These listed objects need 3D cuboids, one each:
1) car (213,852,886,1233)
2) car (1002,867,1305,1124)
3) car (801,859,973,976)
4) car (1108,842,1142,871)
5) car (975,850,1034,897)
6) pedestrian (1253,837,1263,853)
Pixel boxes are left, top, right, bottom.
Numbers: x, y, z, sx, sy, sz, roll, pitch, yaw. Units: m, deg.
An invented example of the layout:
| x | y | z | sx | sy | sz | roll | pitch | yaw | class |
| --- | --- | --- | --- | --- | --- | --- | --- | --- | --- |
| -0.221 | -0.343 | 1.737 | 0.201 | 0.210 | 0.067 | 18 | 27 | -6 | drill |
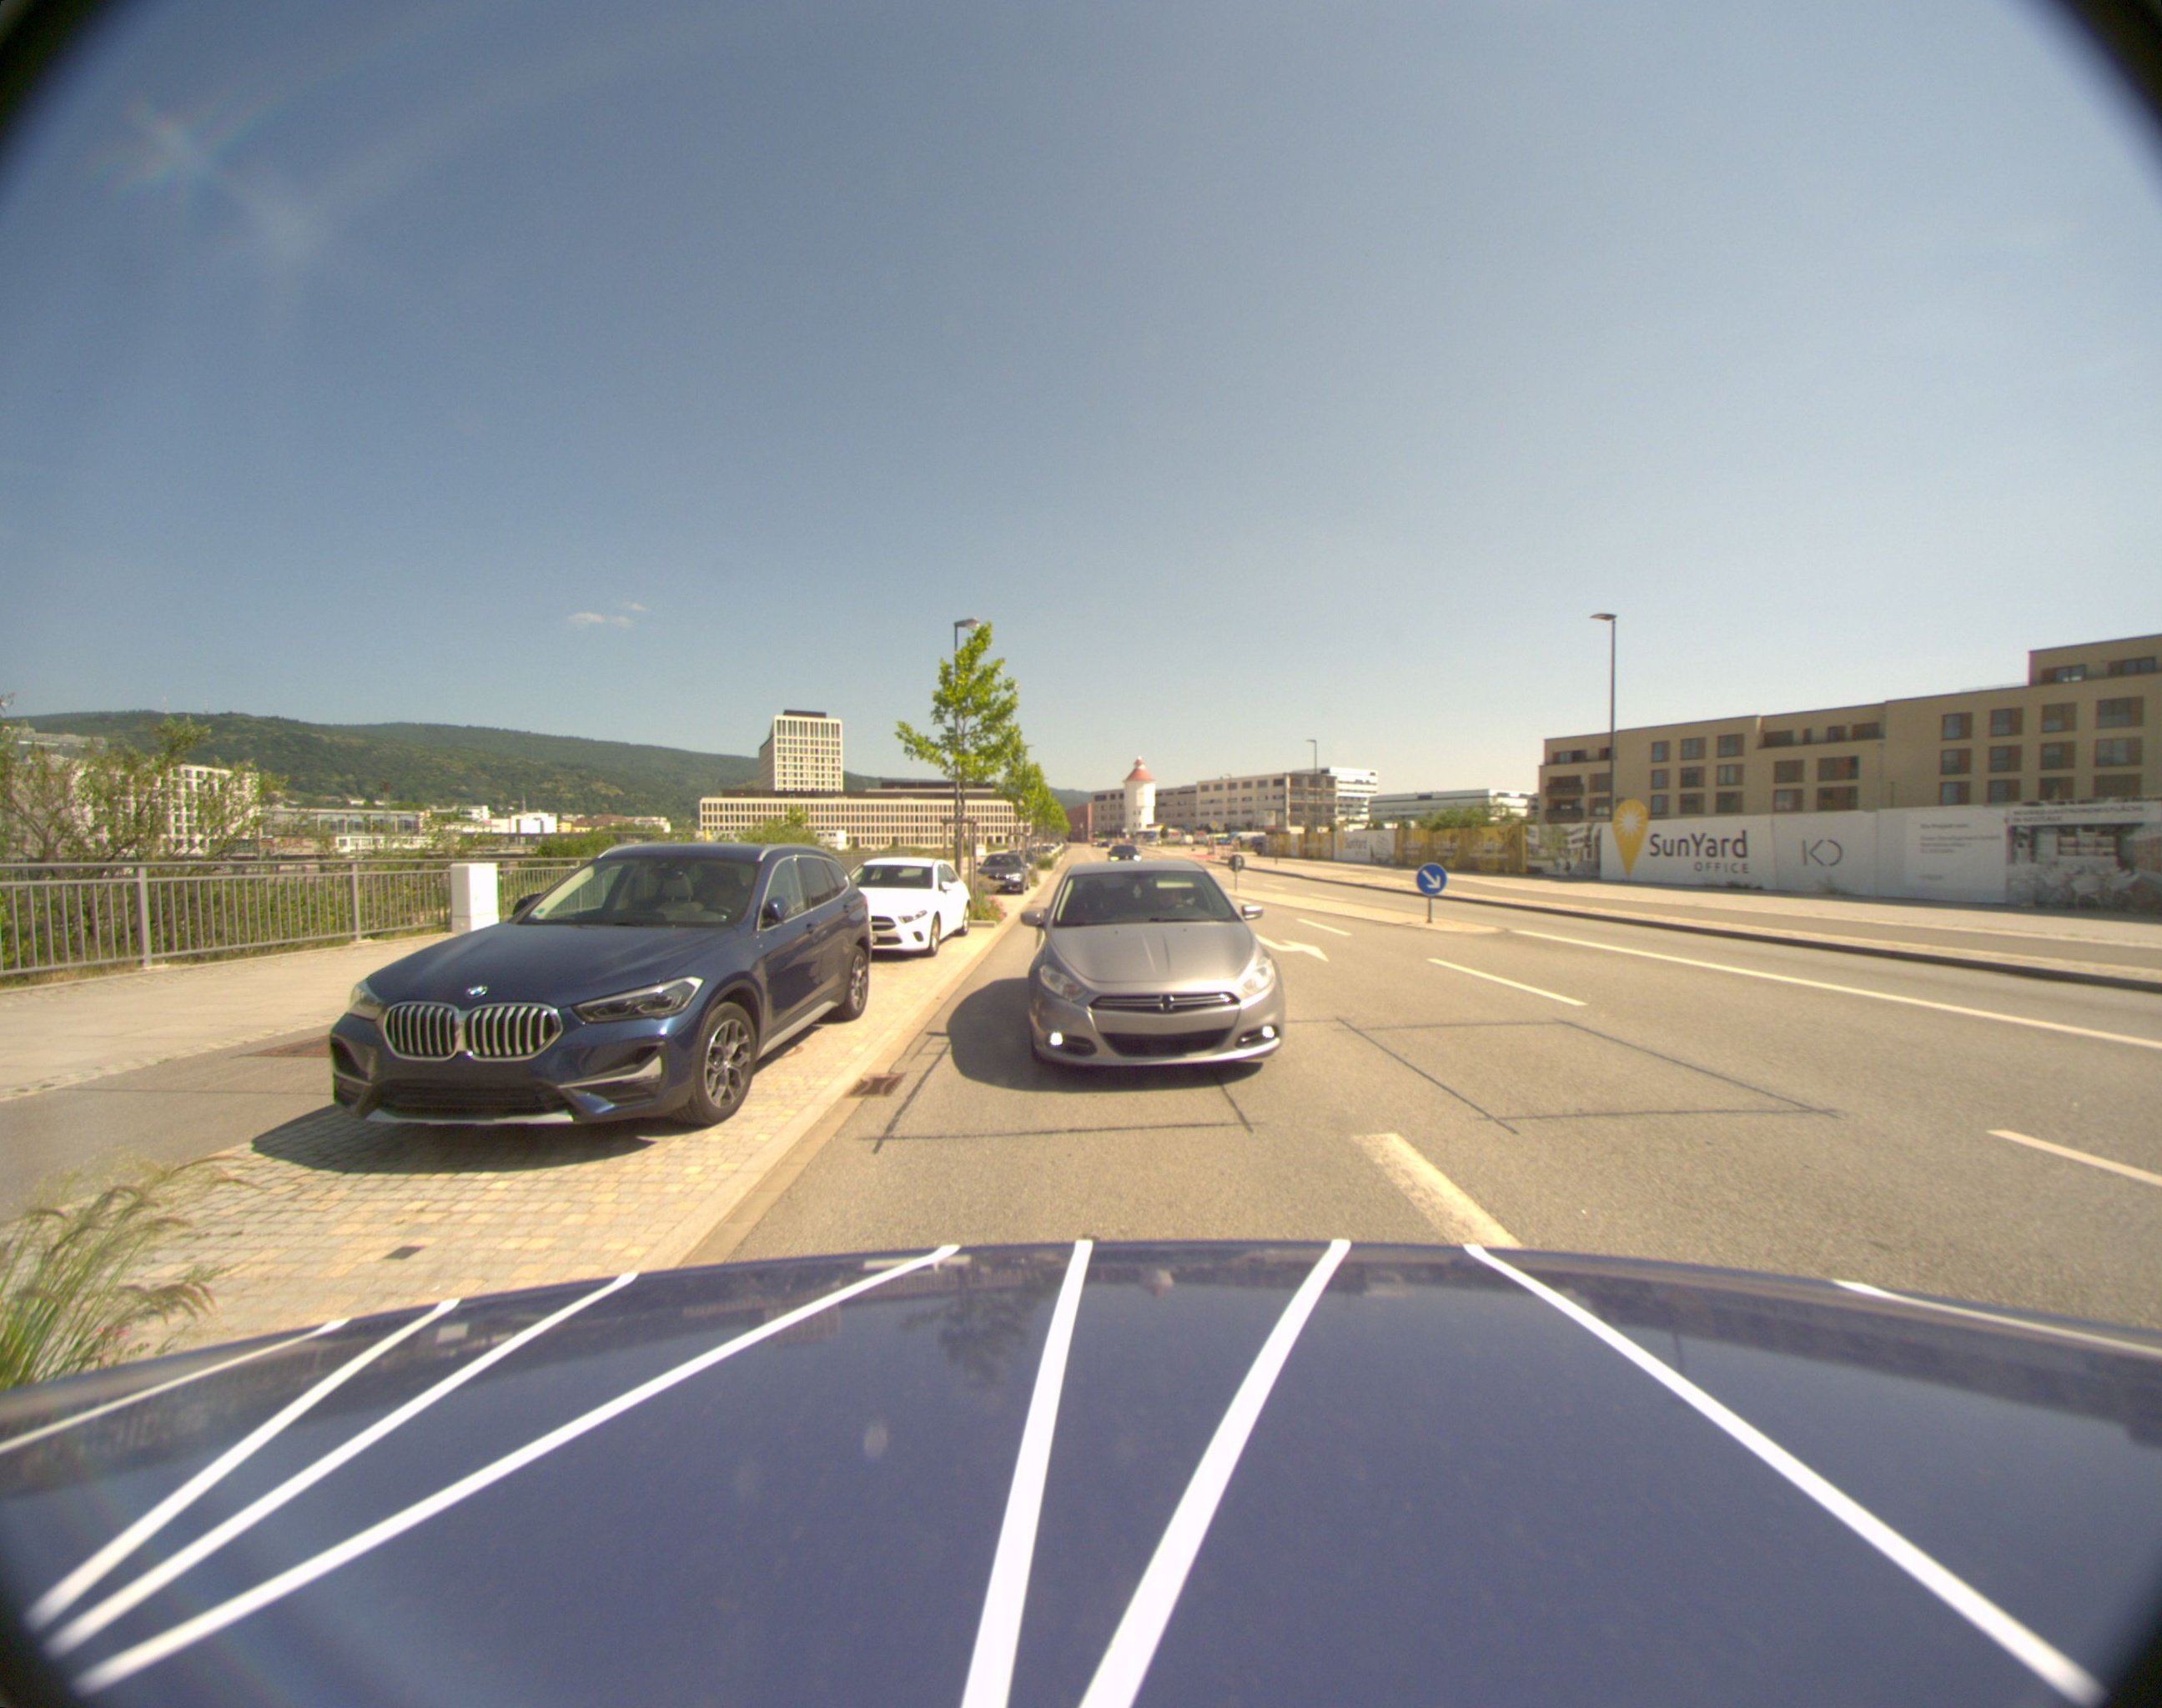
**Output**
| x | y | z | sx | sy | sz | roll | pitch | yaw | class |
| --- | --- | --- | --- | --- | --- | --- | --- | --- | --- |
| -2.900 | 0.839 | 5.493 | 1.769 | 1.598 | 4.238 | -2 | 1 | 1 | car |
| 0.466 | 0.897 | 6.660 | 1.784 | 1.372 | 4.135 | -2 | 1 | 1 | car |
| -2.921 | 0.880 | 12.338 | 1.664 | 1.447 | 3.999 | -2 | 1 | 1 | car |
| 2.646 | 0.124 | 46.125 | 1.806 | 1.632 | 4.365 | -2 | 1 | 1 | car |
| -2.743 | 0.658 | 27.947 | 1.664 | 1.529 | 3.999 | -2 | 1 | 1 | car |
| 18.163 | -0.945 | 77.891 | 0.705 | 1.577 | 0.617 | -3 | 1 | -36 | pedestrian |
